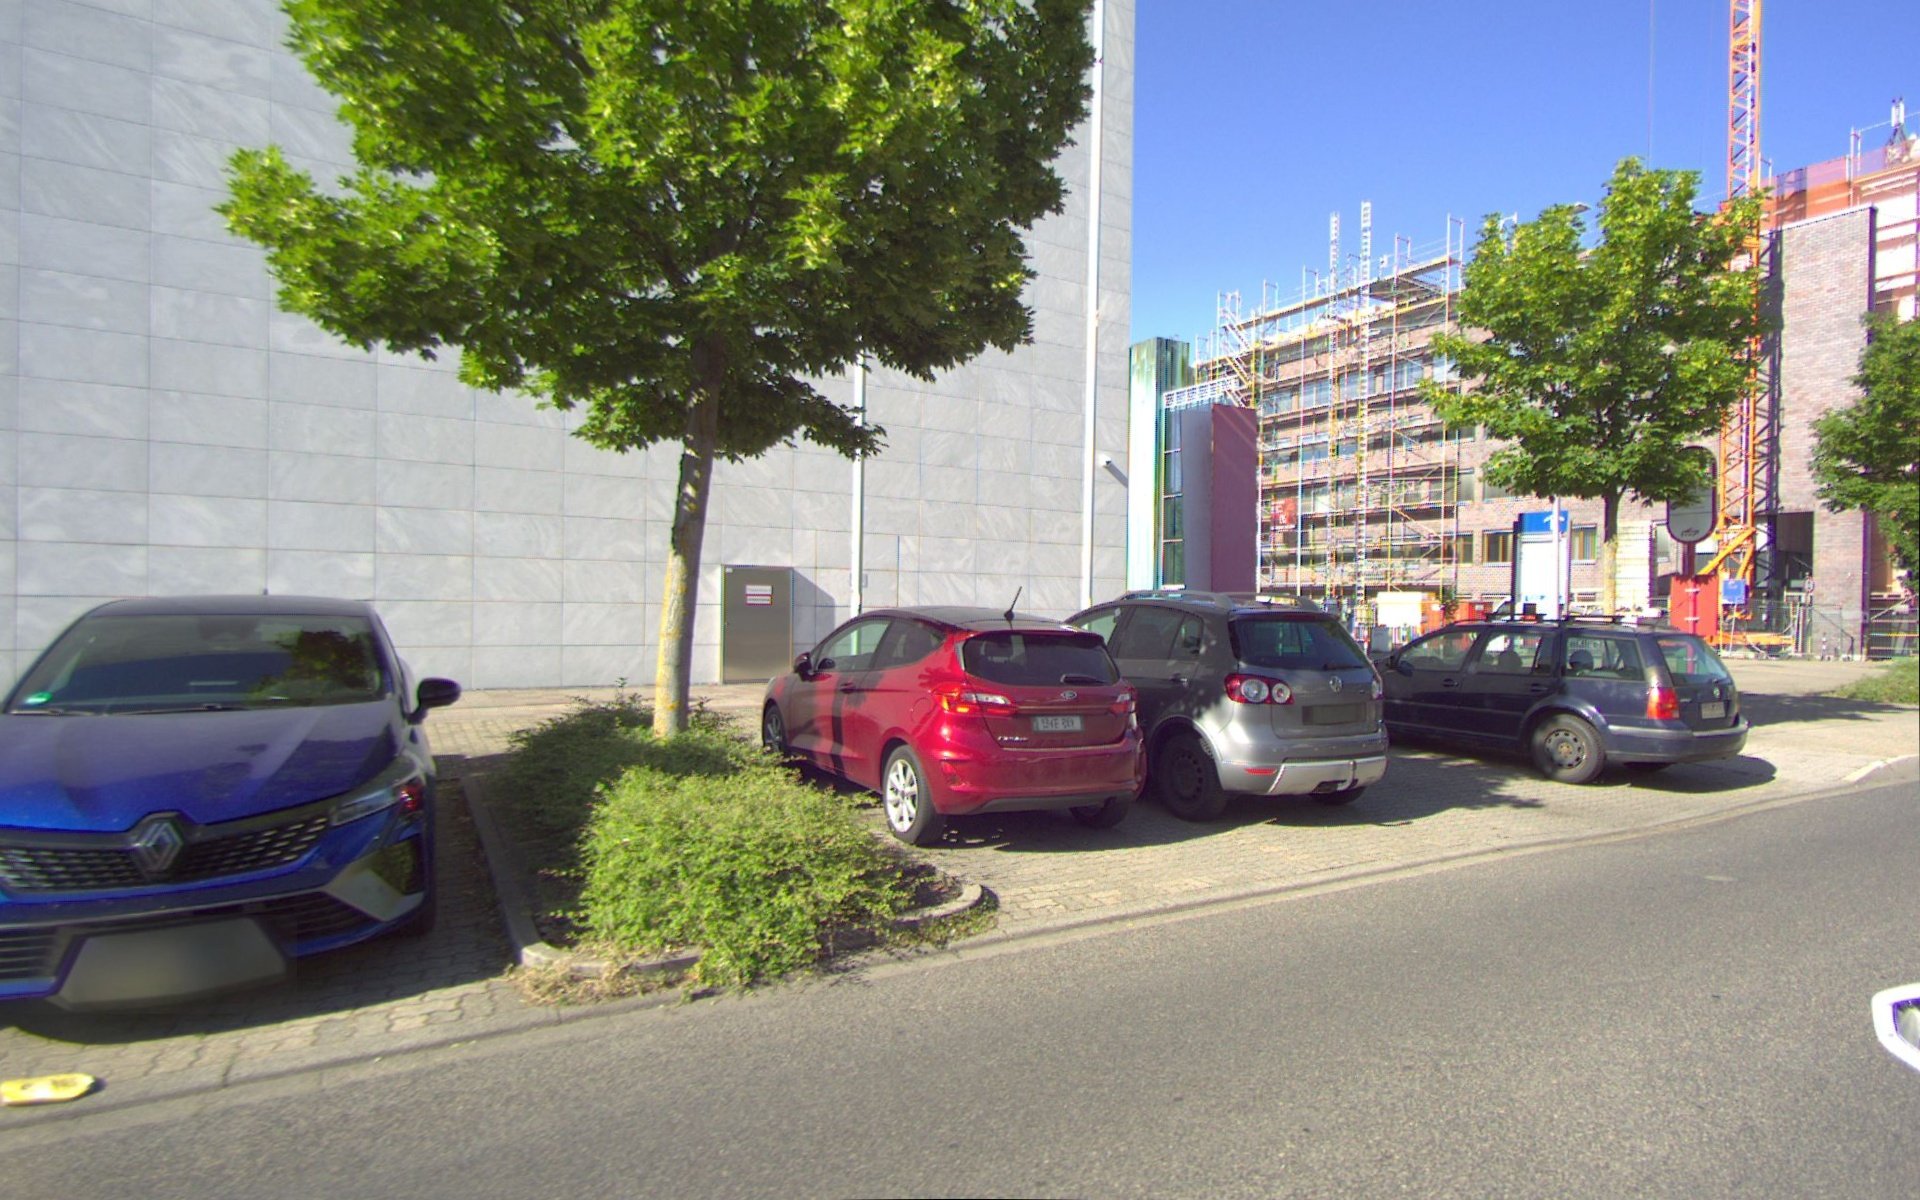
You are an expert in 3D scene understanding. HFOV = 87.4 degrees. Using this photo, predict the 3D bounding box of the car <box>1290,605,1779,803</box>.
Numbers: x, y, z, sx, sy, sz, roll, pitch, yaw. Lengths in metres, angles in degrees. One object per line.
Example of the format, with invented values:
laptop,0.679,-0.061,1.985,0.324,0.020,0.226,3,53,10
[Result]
car,5.803,0.886,10.671,1.849,1.513,4.106,0,2,-33

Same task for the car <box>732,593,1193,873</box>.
car,-0.272,0.752,7.708,1.833,1.537,3.969,2,-1,-29

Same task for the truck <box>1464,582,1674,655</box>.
truck,23.483,0.683,39.136,2.252,2.581,6.830,0,0,-28

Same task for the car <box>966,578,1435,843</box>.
car,1.775,0.709,8.759,1.804,1.686,3.972,2,1,-27

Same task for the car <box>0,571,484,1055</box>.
car,-3.501,0.641,5.091,1.763,1.505,3.916,2,1,-28
